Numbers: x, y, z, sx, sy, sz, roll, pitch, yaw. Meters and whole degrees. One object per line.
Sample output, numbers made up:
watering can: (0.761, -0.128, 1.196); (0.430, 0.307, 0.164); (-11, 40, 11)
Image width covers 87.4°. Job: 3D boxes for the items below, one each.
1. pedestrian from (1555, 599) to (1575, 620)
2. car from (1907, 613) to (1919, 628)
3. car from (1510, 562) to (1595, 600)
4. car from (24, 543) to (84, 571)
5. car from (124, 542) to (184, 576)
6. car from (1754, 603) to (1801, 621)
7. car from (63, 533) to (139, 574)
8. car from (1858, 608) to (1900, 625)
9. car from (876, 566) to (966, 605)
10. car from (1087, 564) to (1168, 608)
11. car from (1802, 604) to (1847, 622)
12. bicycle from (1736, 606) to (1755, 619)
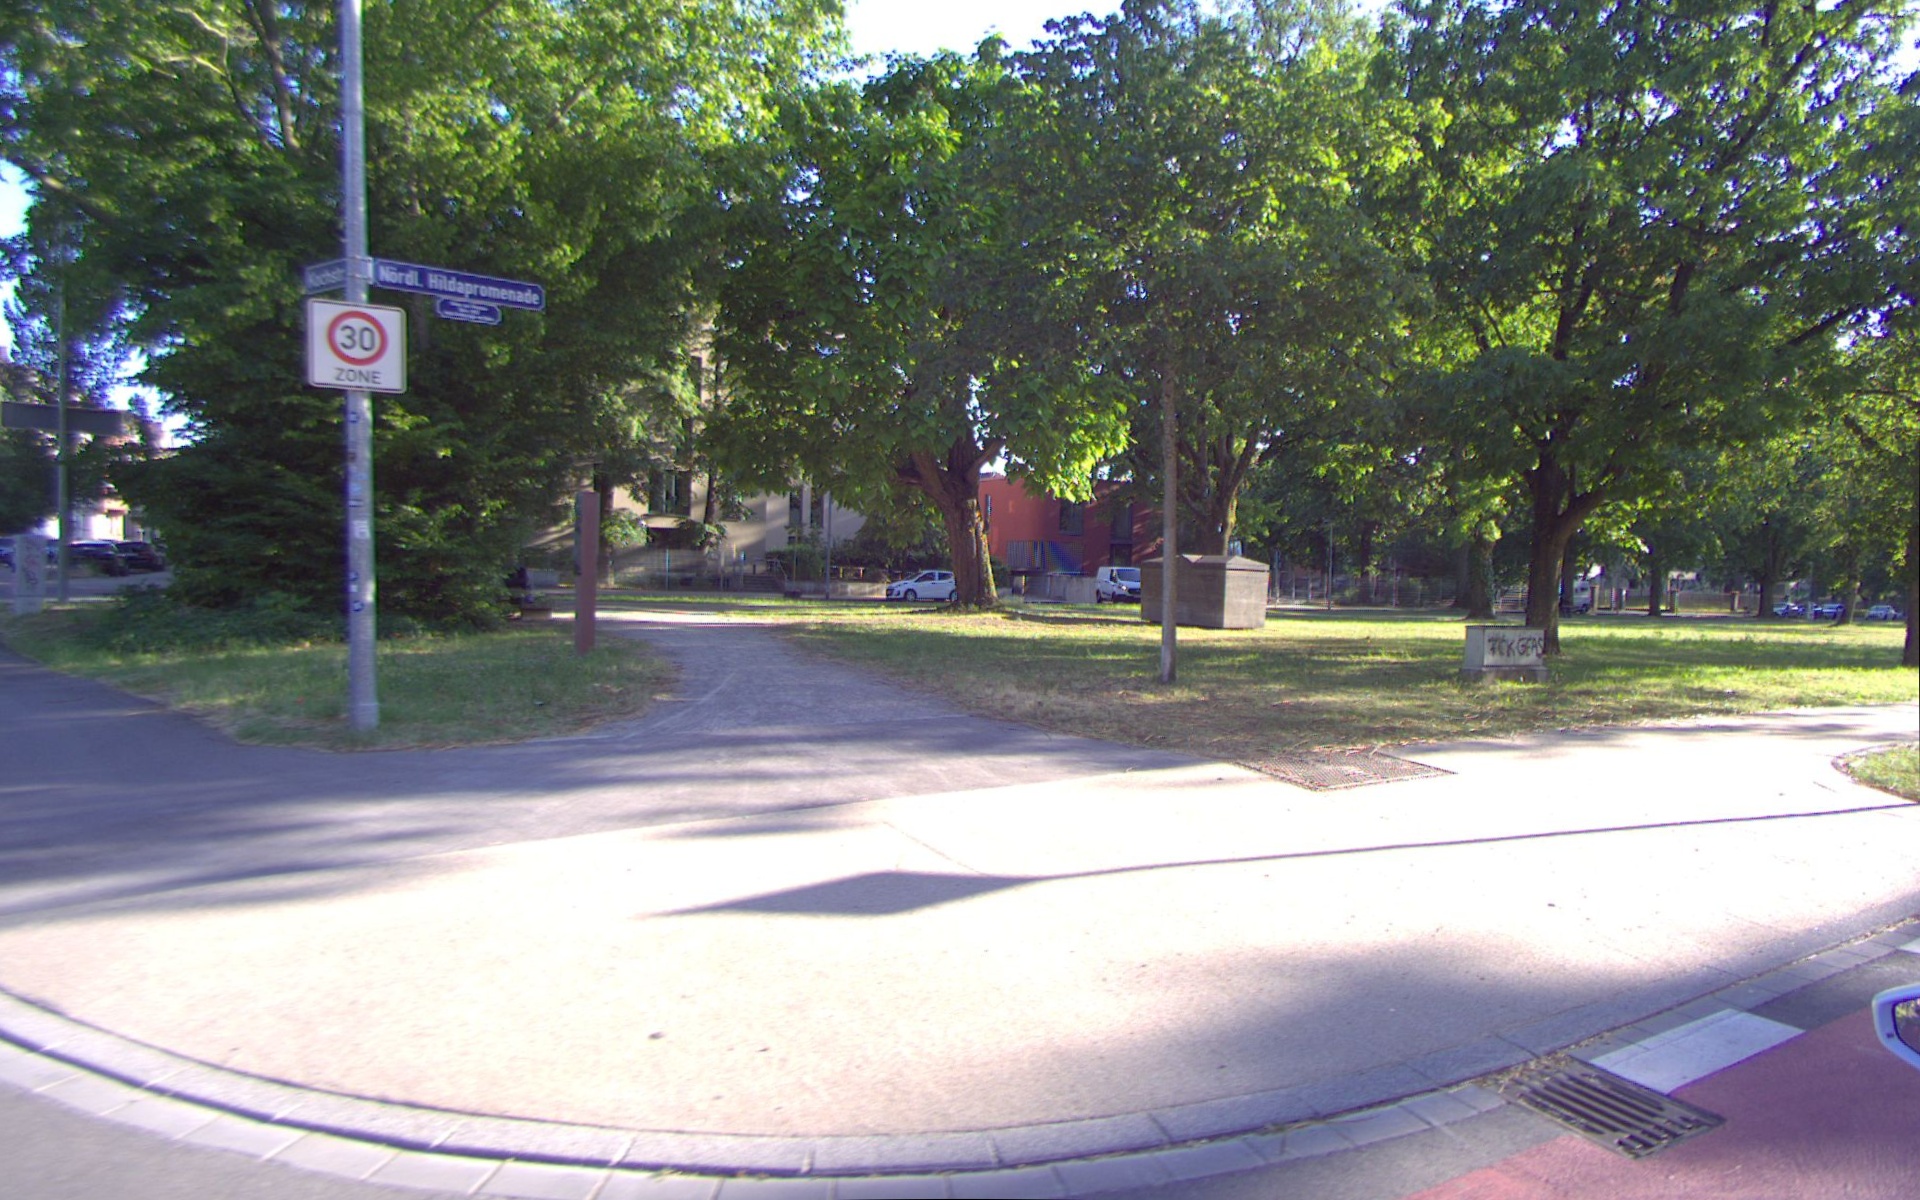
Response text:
pedestrian: (29.696, 0.453, 49.284); (0.602, 1.000, 0.546); (2, 1, -24)
car: (106.660, 2.321, 110.835); (4.066, 1.528, 1.984); (2, 1, -29)
car: (43.472, -1.372, 73.709); (6.247, 2.496, 2.706); (2, 1, -31)
car: (-56.835, -2.707, 63.082); (1.869, 1.595, 3.968); (3, 1, -30)
car: (-42.356, -2.150, 52.852); (1.870, 1.595, 3.966); (3, 1, -31)
car: (75.037, 1.081, 92.222); (3.952, 1.528, 1.984); (2, 1, -29)
car: (-37.822, -2.038, 44.325); (1.870, 1.595, 3.965); (3, 1, -31)
car: (94.055, 1.679, 102.842); (4.066, 1.528, 1.984); (2, 1, -29)
car: (-1.828, -0.677, 47.094); (3.694, 1.640, 1.984); (1, 2, -30)
car: (8.786, -0.793, 53.351); (2.631, 2.142, 4.958); (2, 2, -11)
car: (83.801, 1.261, 97.364); (4.066, 1.528, 1.984); (2, 1, -29)
bicycle: (72.645, 1.144, 92.853); (2.308, 1.191, 0.653); (2, 1, -33)
